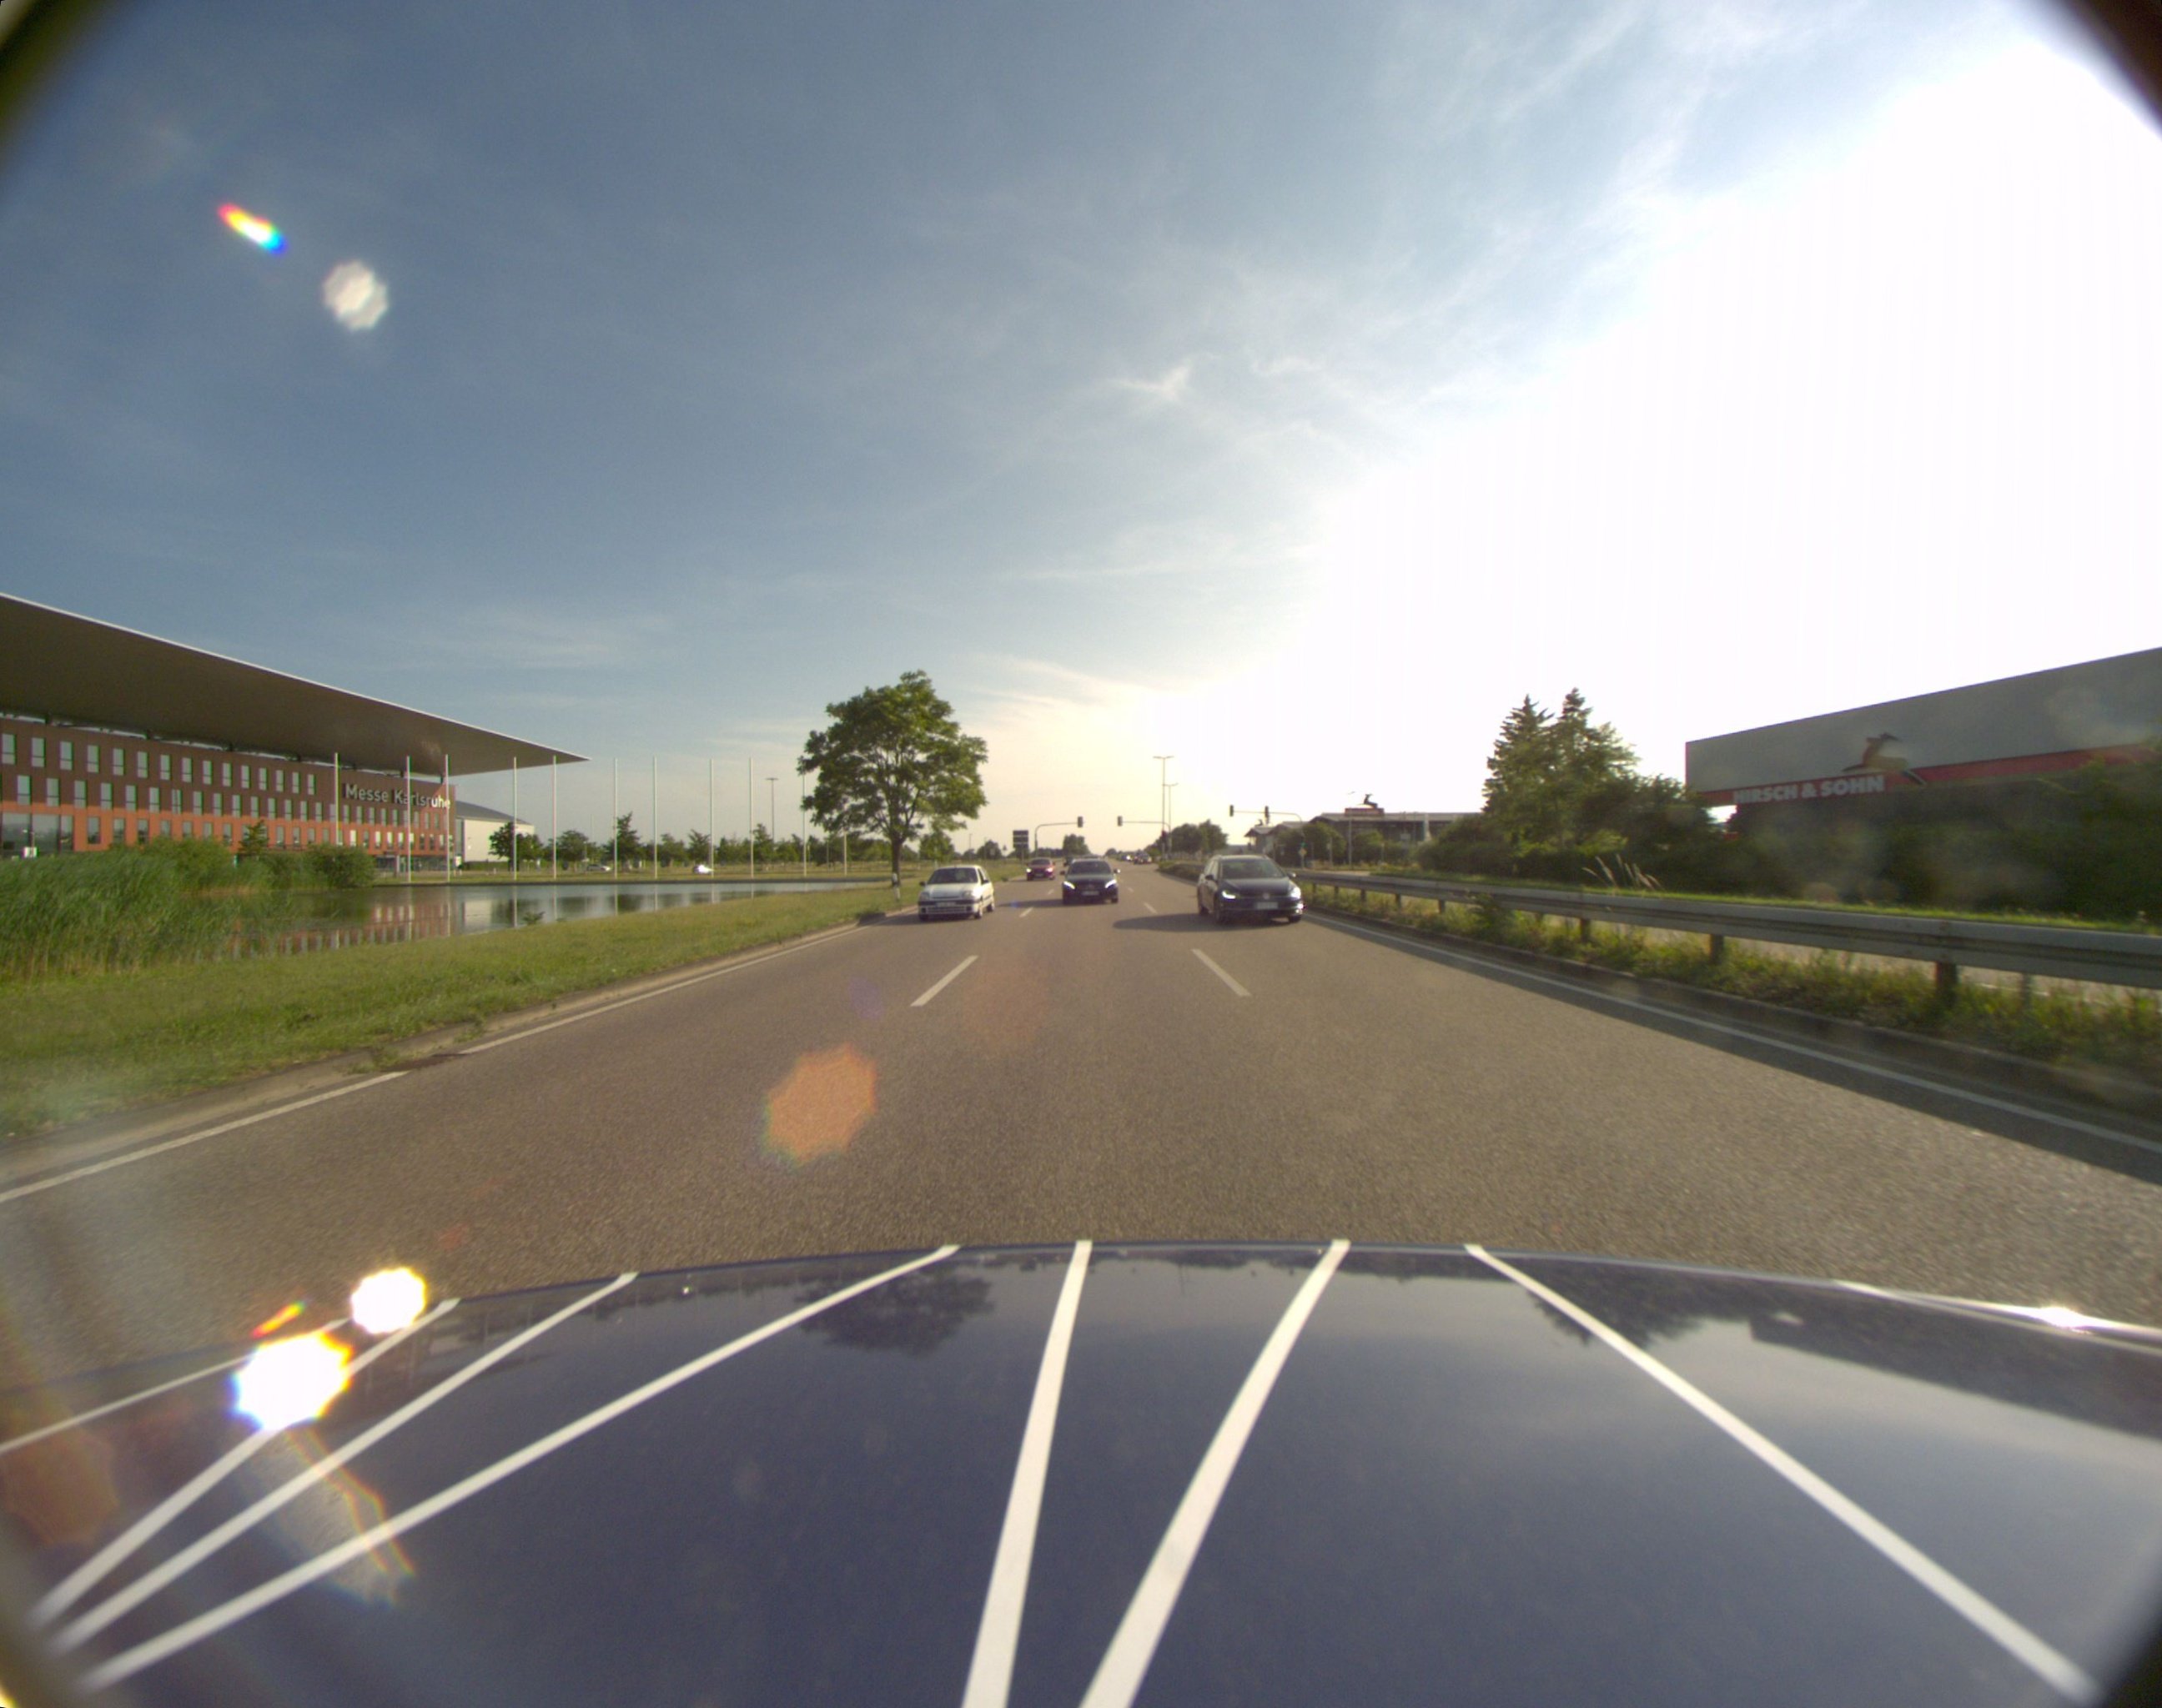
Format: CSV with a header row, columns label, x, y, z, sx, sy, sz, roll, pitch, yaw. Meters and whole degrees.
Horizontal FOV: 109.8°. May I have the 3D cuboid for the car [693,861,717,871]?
label,x,y,z,sx,sy,sz,roll,pitch,yaw
car,-61.577,1.983,124.506,1.709,1.447,3.568,-1,0,13

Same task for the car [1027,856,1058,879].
label,x,y,z,sx,sy,sz,roll,pitch,yaw
car,-2.588,0.889,51.846,1.751,1.512,3.739,-1,0,1

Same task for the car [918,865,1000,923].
label,x,y,z,sx,sy,sz,roll,pitch,yaw
car,-3.254,1.042,20.857,1.578,1.371,3.452,-1,0,1

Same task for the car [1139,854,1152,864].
label,x,y,z,sx,sy,sz,roll,pitch,yaw
car,9.197,0.681,108.472,1.711,1.428,3.565,-1,0,1

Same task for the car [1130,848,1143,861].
label,x,y,z,sx,sy,sz,roll,pitch,yaw
car,8.413,0.116,114.753,1.650,1.823,4.226,-1,0,1

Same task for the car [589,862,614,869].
label,x,y,z,sx,sy,sz,roll,pitch,yaw
car,-101.181,2.455,160.380,4.209,1.272,1.486,-1,0,-2

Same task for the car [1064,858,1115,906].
label,x,y,z,sx,sy,sz,roll,pitch,yaw
car,0.338,0.900,26.363,1.576,1.462,5.023,-1,0,1

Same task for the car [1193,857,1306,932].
label,x,y,z,sx,sy,sz,roll,pitch,yaw
car,3.743,0.835,17.685,1.650,1.462,4.776,-1,0,1

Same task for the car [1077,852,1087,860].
label,x,y,z,sx,sy,sz,roll,pitch,yaw
car,0.241,0.408,141.474,1.751,1.512,3.739,-1,0,1

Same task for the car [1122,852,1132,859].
label,x,y,z,sx,sy,sz,roll,pitch,yaw
car,9.794,0.353,160.686,1.751,1.512,3.739,-1,0,-1

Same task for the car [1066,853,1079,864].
label,x,y,z,sx,sy,sz,roll,pitch,yaw
car,-1.168,0.592,109.381,1.751,1.512,3.739,-1,0,1
